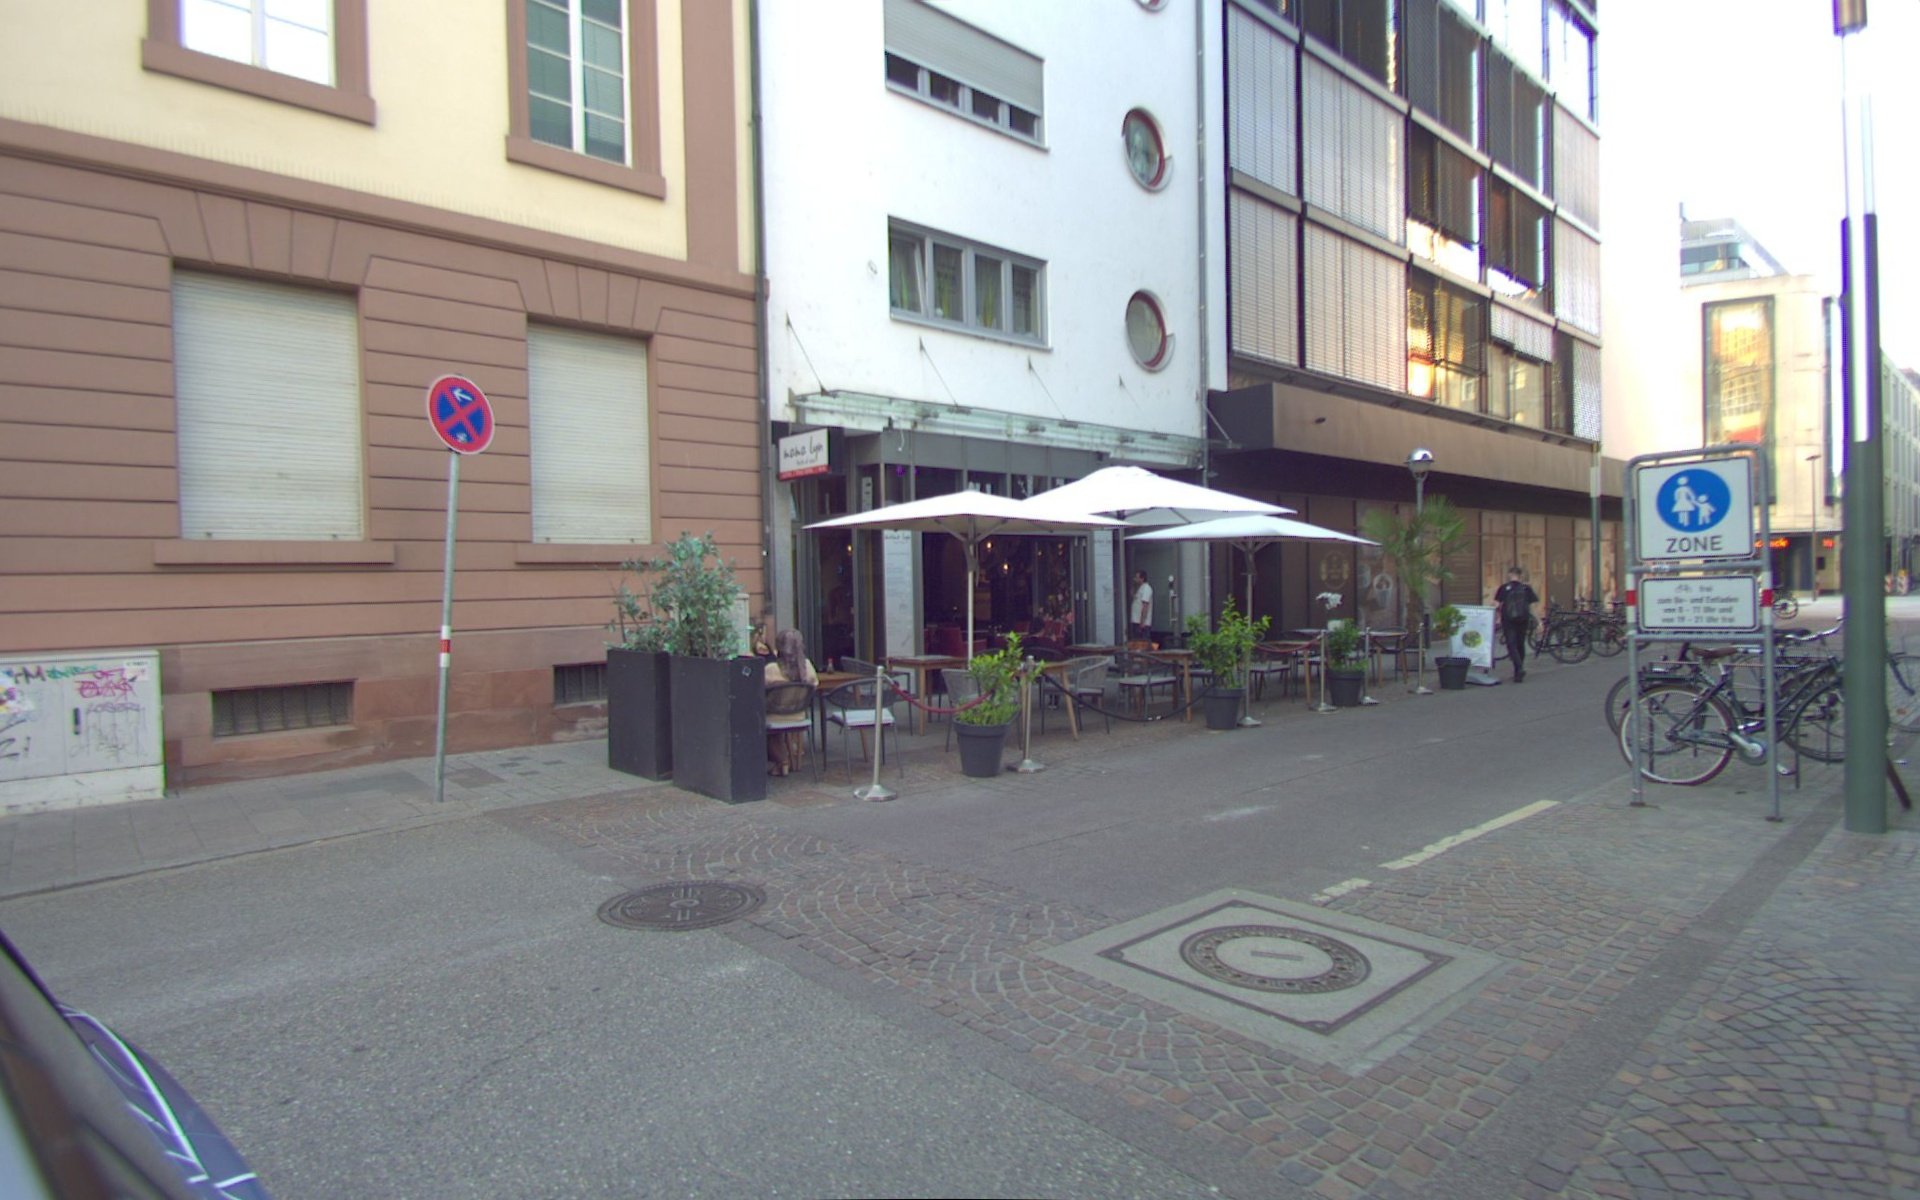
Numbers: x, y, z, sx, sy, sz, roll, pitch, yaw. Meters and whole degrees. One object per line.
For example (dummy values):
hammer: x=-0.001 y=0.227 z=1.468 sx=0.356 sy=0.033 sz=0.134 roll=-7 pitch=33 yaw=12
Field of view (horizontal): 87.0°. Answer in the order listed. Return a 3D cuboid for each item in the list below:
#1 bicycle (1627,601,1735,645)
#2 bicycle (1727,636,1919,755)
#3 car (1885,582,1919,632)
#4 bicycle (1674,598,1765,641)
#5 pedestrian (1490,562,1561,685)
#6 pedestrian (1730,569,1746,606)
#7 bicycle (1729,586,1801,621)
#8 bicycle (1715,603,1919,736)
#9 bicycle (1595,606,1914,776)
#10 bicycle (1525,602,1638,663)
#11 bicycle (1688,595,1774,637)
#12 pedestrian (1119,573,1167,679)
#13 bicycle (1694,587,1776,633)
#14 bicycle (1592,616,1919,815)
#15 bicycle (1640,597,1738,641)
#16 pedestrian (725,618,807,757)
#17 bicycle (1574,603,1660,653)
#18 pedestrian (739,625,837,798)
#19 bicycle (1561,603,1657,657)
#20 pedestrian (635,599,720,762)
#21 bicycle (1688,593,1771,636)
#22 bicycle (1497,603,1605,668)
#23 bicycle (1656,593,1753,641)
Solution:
bicycle: x=16.424 y=0.524 z=23.094 sx=0.459 sy=0.964 sz=1.947 roll=-1 pitch=0 yaw=-42
bicycle: x=7.422 y=0.757 z=8.243 sx=0.447 sy=0.902 sz=1.795 roll=-1 pitch=-1 yaw=-42
car: x=25.694 y=0.145 z=26.461 sx=3.430 sy=1.231 sz=1.632 roll=-2 pitch=0 yaw=-37
bicycle: x=19.301 y=0.482 z=25.749 sx=0.459 sy=1.059 sz=1.779 roll=-1 pitch=0 yaw=-42
pedestrian: x=8.591 y=0.348 z=15.404 sx=0.734 sy=1.798 sz=0.963 roll=-1 pitch=0 yaw=18
pedestrian: x=32.989 y=-0.531 z=42.893 sx=0.477 sy=1.564 sz=0.430 roll=-1 pitch=0 yaw=32
bicycle: x=25.762 y=0.121 z=32.400 sx=0.430 sy=1.069 sz=1.735 roll=-1 pitch=0 yaw=-42
bicycle: x=8.296 y=0.623 z=9.439 sx=0.548 sy=1.153 sz=1.913 roll=-1 pitch=-1 yaw=-42
bicycle: x=6.104 y=0.661 z=7.873 sx=0.600 sy=1.159 sz=1.843 roll=-1 pitch=-1 yaw=-42
bicycle: x=11.827 y=0.600 z=19.296 sx=0.540 sy=1.100 sz=1.730 roll=-1 pitch=0 yaw=-42
bicycle: x=20.168 y=0.427 z=26.501 sx=0.459 sy=1.059 sz=1.735 roll=-1 pitch=0 yaw=-42
pedestrian: x=2.960 y=0.411 z=16.354 sx=0.620 sy=1.678 sz=0.666 roll=-1 pitch=0 yaw=21
bicycle: x=21.593 y=0.278 z=28.216 sx=0.459 sy=1.238 sz=1.735 roll=-1 pitch=0 yaw=-42
bicycle: x=5.211 y=0.693 z=6.604 sx=0.699 sy=1.121 sz=1.675 roll=-1 pitch=-1 yaw=-42
bicycle: x=17.242 y=0.443 z=23.973 sx=0.523 sy=1.016 sz=1.797 roll=-1 pitch=0 yaw=-42
pedestrian: x=-1.807 y=0.786 z=9.416 sx=0.540 sy=1.220 sz=0.525 roll=-1 pitch=0 yaw=-39
bicycle: x=13.923 y=0.589 z=21.479 sx=0.459 sy=1.013 sz=1.457 roll=-1 pitch=0 yaw=-42
pedestrian: x=-1.300 y=0.809 z=7.643 sx=0.553 sy=1.221 sz=0.462 roll=-1 pitch=0 yaw=-40
bicycle: x=13.110 y=0.591 z=20.481 sx=0.459 sy=1.045 sz=1.558 roll=-1 pitch=0 yaw=-42
pedestrian: x=-2.473 y=0.682 z=8.865 sx=0.540 sy=1.359 sz=0.489 roll=-1 pitch=0 yaw=-39
bicycle: x=20.987 y=0.395 z=27.638 sx=0.459 sy=1.154 sz=1.735 roll=-1 pitch=0 yaw=-42
bicycle: x=10.425 y=0.609 z=17.883 sx=0.540 sy=1.093 sz=1.544 roll=-1 pitch=0 yaw=-42
bicycle: x=18.318 y=0.417 z=24.936 sx=0.459 sy=1.144 sz=1.851 roll=-1 pitch=0 yaw=-42
